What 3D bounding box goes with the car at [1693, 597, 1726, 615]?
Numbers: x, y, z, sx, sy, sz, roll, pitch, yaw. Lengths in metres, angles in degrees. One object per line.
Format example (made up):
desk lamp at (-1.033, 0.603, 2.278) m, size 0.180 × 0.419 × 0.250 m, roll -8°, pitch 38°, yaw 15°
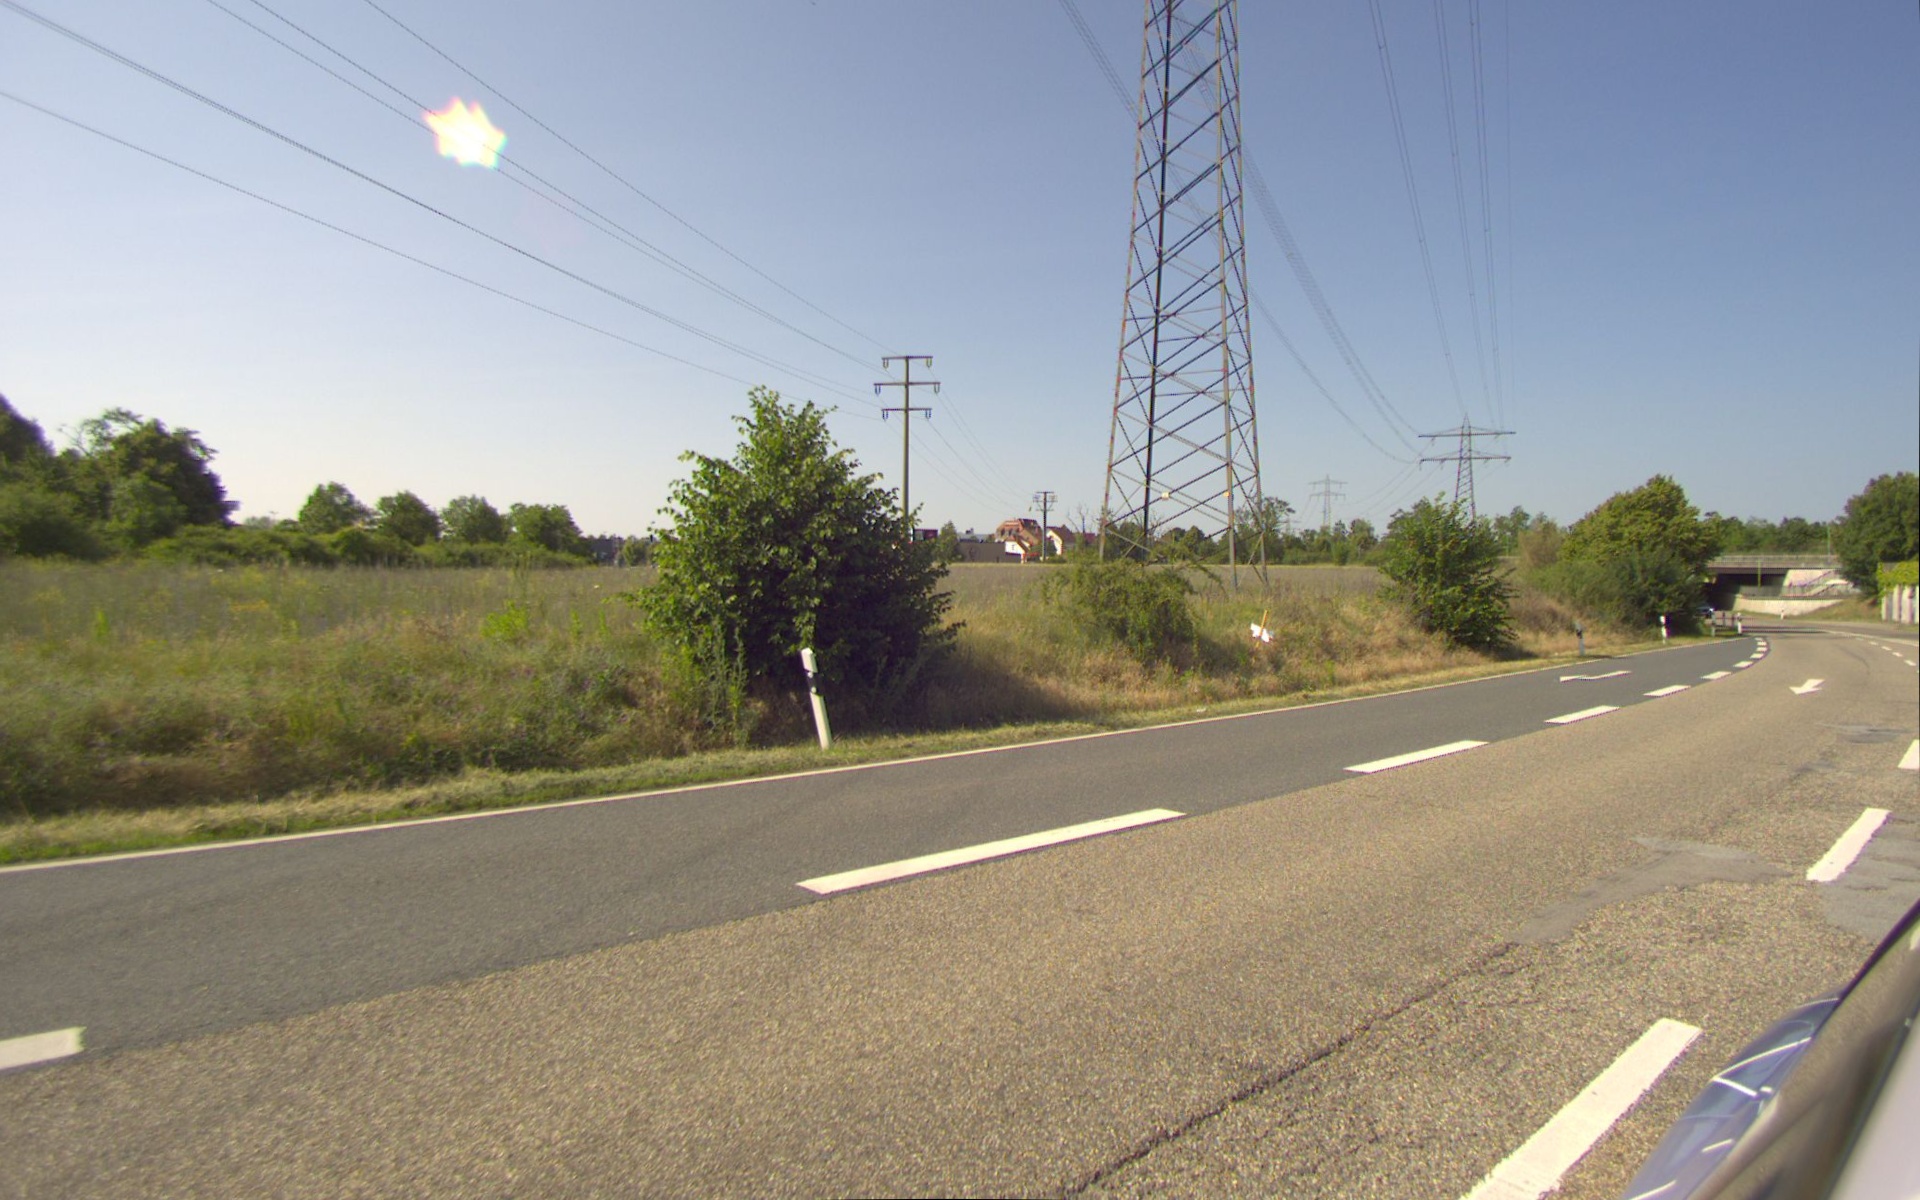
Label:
car at (70.653, 0.518, 95.444) m, size 1.843 × 1.639 × 3.612 m, roll 1°, pitch 0°, yaw 27°
